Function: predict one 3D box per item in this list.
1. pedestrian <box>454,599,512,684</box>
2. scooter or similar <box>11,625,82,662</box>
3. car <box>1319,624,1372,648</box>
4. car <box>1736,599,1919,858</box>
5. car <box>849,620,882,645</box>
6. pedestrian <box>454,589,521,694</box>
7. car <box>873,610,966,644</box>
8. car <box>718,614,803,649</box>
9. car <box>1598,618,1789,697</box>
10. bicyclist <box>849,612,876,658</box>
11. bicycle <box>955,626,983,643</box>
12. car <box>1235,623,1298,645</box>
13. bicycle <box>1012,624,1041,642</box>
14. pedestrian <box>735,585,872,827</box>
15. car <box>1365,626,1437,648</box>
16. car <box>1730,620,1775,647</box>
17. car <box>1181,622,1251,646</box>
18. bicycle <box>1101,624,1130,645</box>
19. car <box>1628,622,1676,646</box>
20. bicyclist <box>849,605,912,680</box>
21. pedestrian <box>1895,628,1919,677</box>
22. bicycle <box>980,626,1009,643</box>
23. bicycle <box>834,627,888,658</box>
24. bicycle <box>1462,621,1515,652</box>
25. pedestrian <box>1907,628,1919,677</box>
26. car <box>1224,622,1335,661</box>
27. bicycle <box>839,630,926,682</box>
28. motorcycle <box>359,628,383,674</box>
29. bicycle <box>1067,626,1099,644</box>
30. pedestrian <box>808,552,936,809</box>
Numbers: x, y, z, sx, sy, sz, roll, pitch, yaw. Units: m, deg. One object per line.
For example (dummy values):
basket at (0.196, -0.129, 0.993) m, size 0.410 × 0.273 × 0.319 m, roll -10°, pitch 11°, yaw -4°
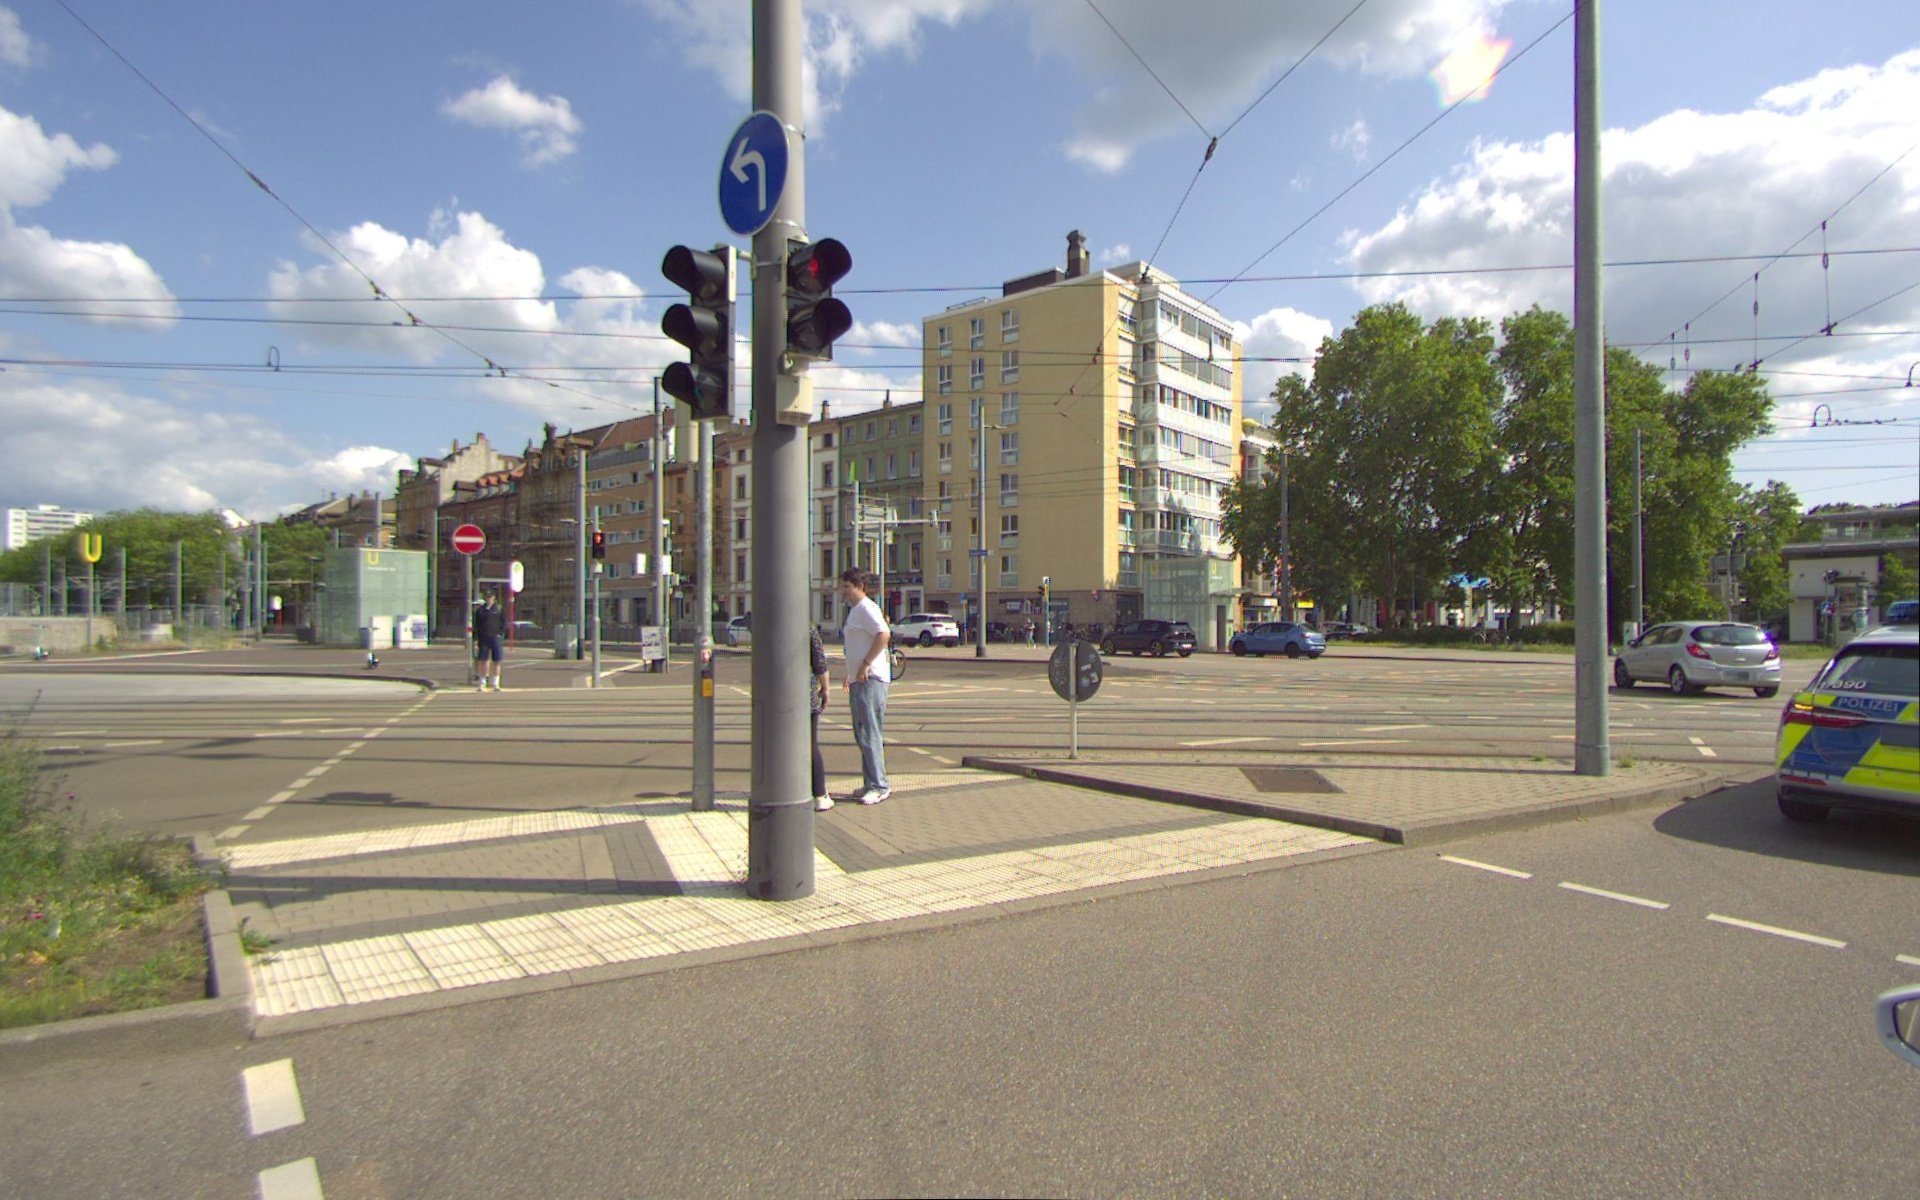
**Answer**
pedestrian at (-10.491, 0.904, 22.090) m, size 1.017 × 1.821 × 0.760 m, roll 2°, pitch 0°, yaw -33°
scooter or similar at (-29.795, 1.414, 32.786) m, size 0.836 × 1.120 × 1.645 m, roll 2°, pitch 0°, yaw -3°
car at (24.533, 2.301, 63.888) m, size 1.884 × 1.432 × 3.980 m, roll -1°, pitch -3°, yaw 41°
car at (7.689, 0.825, 7.581) m, size 4.574 × 1.589 × 1.865 m, roll 1°, pitch 0°, yaw -38°
car at (-5.927, 2.049, 63.432) m, size 1.863 × 1.516 × 3.899 m, roll 1°, pitch -2°, yaw -2°
pedestrian at (-9.002, 0.777, 19.146) m, size 0.752 × 1.928 × 0.826 m, roll 2°, pitch 0°, yaw 22°
car at (-2.061, 1.312, 50.110) m, size 4.472 × 1.599 × 2.036 m, roll 0°, pitch -1°, yaw 41°
car at (-9.892, 1.543, 49.733) m, size 4.226 × 1.661 × 2.032 m, roll -1°, pitch -1°, yaw 42°
car at (15.235, 1.129, 21.151) m, size 1.816 × 1.494 × 4.002 m, roll 0°, pitch -1°, yaw 13°
bicyclist at (-3.927, 1.406, 40.553) m, size 0.767 × 1.821 × 0.707 m, roll 2°, pitch 0°, yaw 36°
bicycle at (0.622, 2.345, 68.602) m, size 1.780 × 1.118 × 0.794 m, roll 0°, pitch -1°, yaw 35°
car at (21.845, 2.422, 71.594) m, size 3.938 × 1.515 × 1.795 m, roll -1°, pitch -1°, yaw 39°
bicycle at (4.369, 2.168, 65.838) m, size 1.780 × 1.118 × 0.794 m, roll 0°, pitch -1°, yaw 35°
pedestrian at (-1.176, 0.750, 7.510) m, size 0.686 × 1.669 × 0.841 m, roll 2°, pitch -2°, yaw -37°
car at (28.133, 2.370, 64.203) m, size 1.619 × 1.344 × 3.957 m, roll 3°, pitch -3°, yaw -38°
car at (62.515, 2.680, 79.215) m, size 4.198 × 2.040 × 1.977 m, roll 3°, pitch -4°, yaw -41°
car at (16.118, 2.122, 63.365) m, size 3.938 × 1.416 × 1.666 m, roll 0°, pitch -2°, yaw 38°
bicycle at (9.787, 2.144, 63.205) m, size 1.795 × 1.275 × 0.787 m, roll 1°, pitch -1°, yaw -41°
car at (59.100, 2.958, 85.752) m, size 5.022 × 1.962 × 1.953 m, roll 2°, pitch -4°, yaw -37°
bicyclist at (-1.929, 1.033, 24.376) m, size 0.986 × 1.754 × 1.287 m, roll 2°, pitch -2°, yaw -39°
pedestrian at (35.077, 1.930, 36.900) m, size 0.910 × 1.767 × 0.588 m, roll 2°, pitch 0°, yaw 30°
bicycle at (2.303, 2.323, 67.465) m, size 1.780 × 1.118 × 0.794 m, roll 0°, pitch -1°, yaw 35°
bicycle at (-3.973, 1.696, 40.525) m, size 0.875 × 1.153 × 2.350 m, roll 2°, pitch 0°, yaw 34°
bicycle at (25.367, 1.739, 48.248) m, size 2.141 × 1.433 × 0.809 m, roll 1°, pitch 0°, yaw 39°
pedestrian at (34.865, 1.902, 36.193) m, size 0.910 × 1.767 × 0.588 m, roll 2°, pitch 0°, yaw 30°
car at (12.700, 1.626, 40.085) m, size 1.728 × 1.395 × 3.953 m, roll 2°, pitch -1°, yaw -40°
bicycle at (-1.905, 1.334, 24.352) m, size 0.986 × 1.204 × 2.275 m, roll 2°, pitch -2°, yaw -38°
motorcycle at (-16.462, 1.404, 28.072) m, size 0.479 × 1.253 × 1.433 m, roll 2°, pitch -2°, yaw -34°
bicycle at (7.705, 2.177, 62.893) m, size 1.780 × 1.118 × 0.794 m, roll 0°, pitch -1°, yaw 35°
pedestrian at (-0.720, 0.625, 8.170) m, size 0.686 × 1.942 × 0.841 m, roll 2°, pitch -2°, yaw -37°
